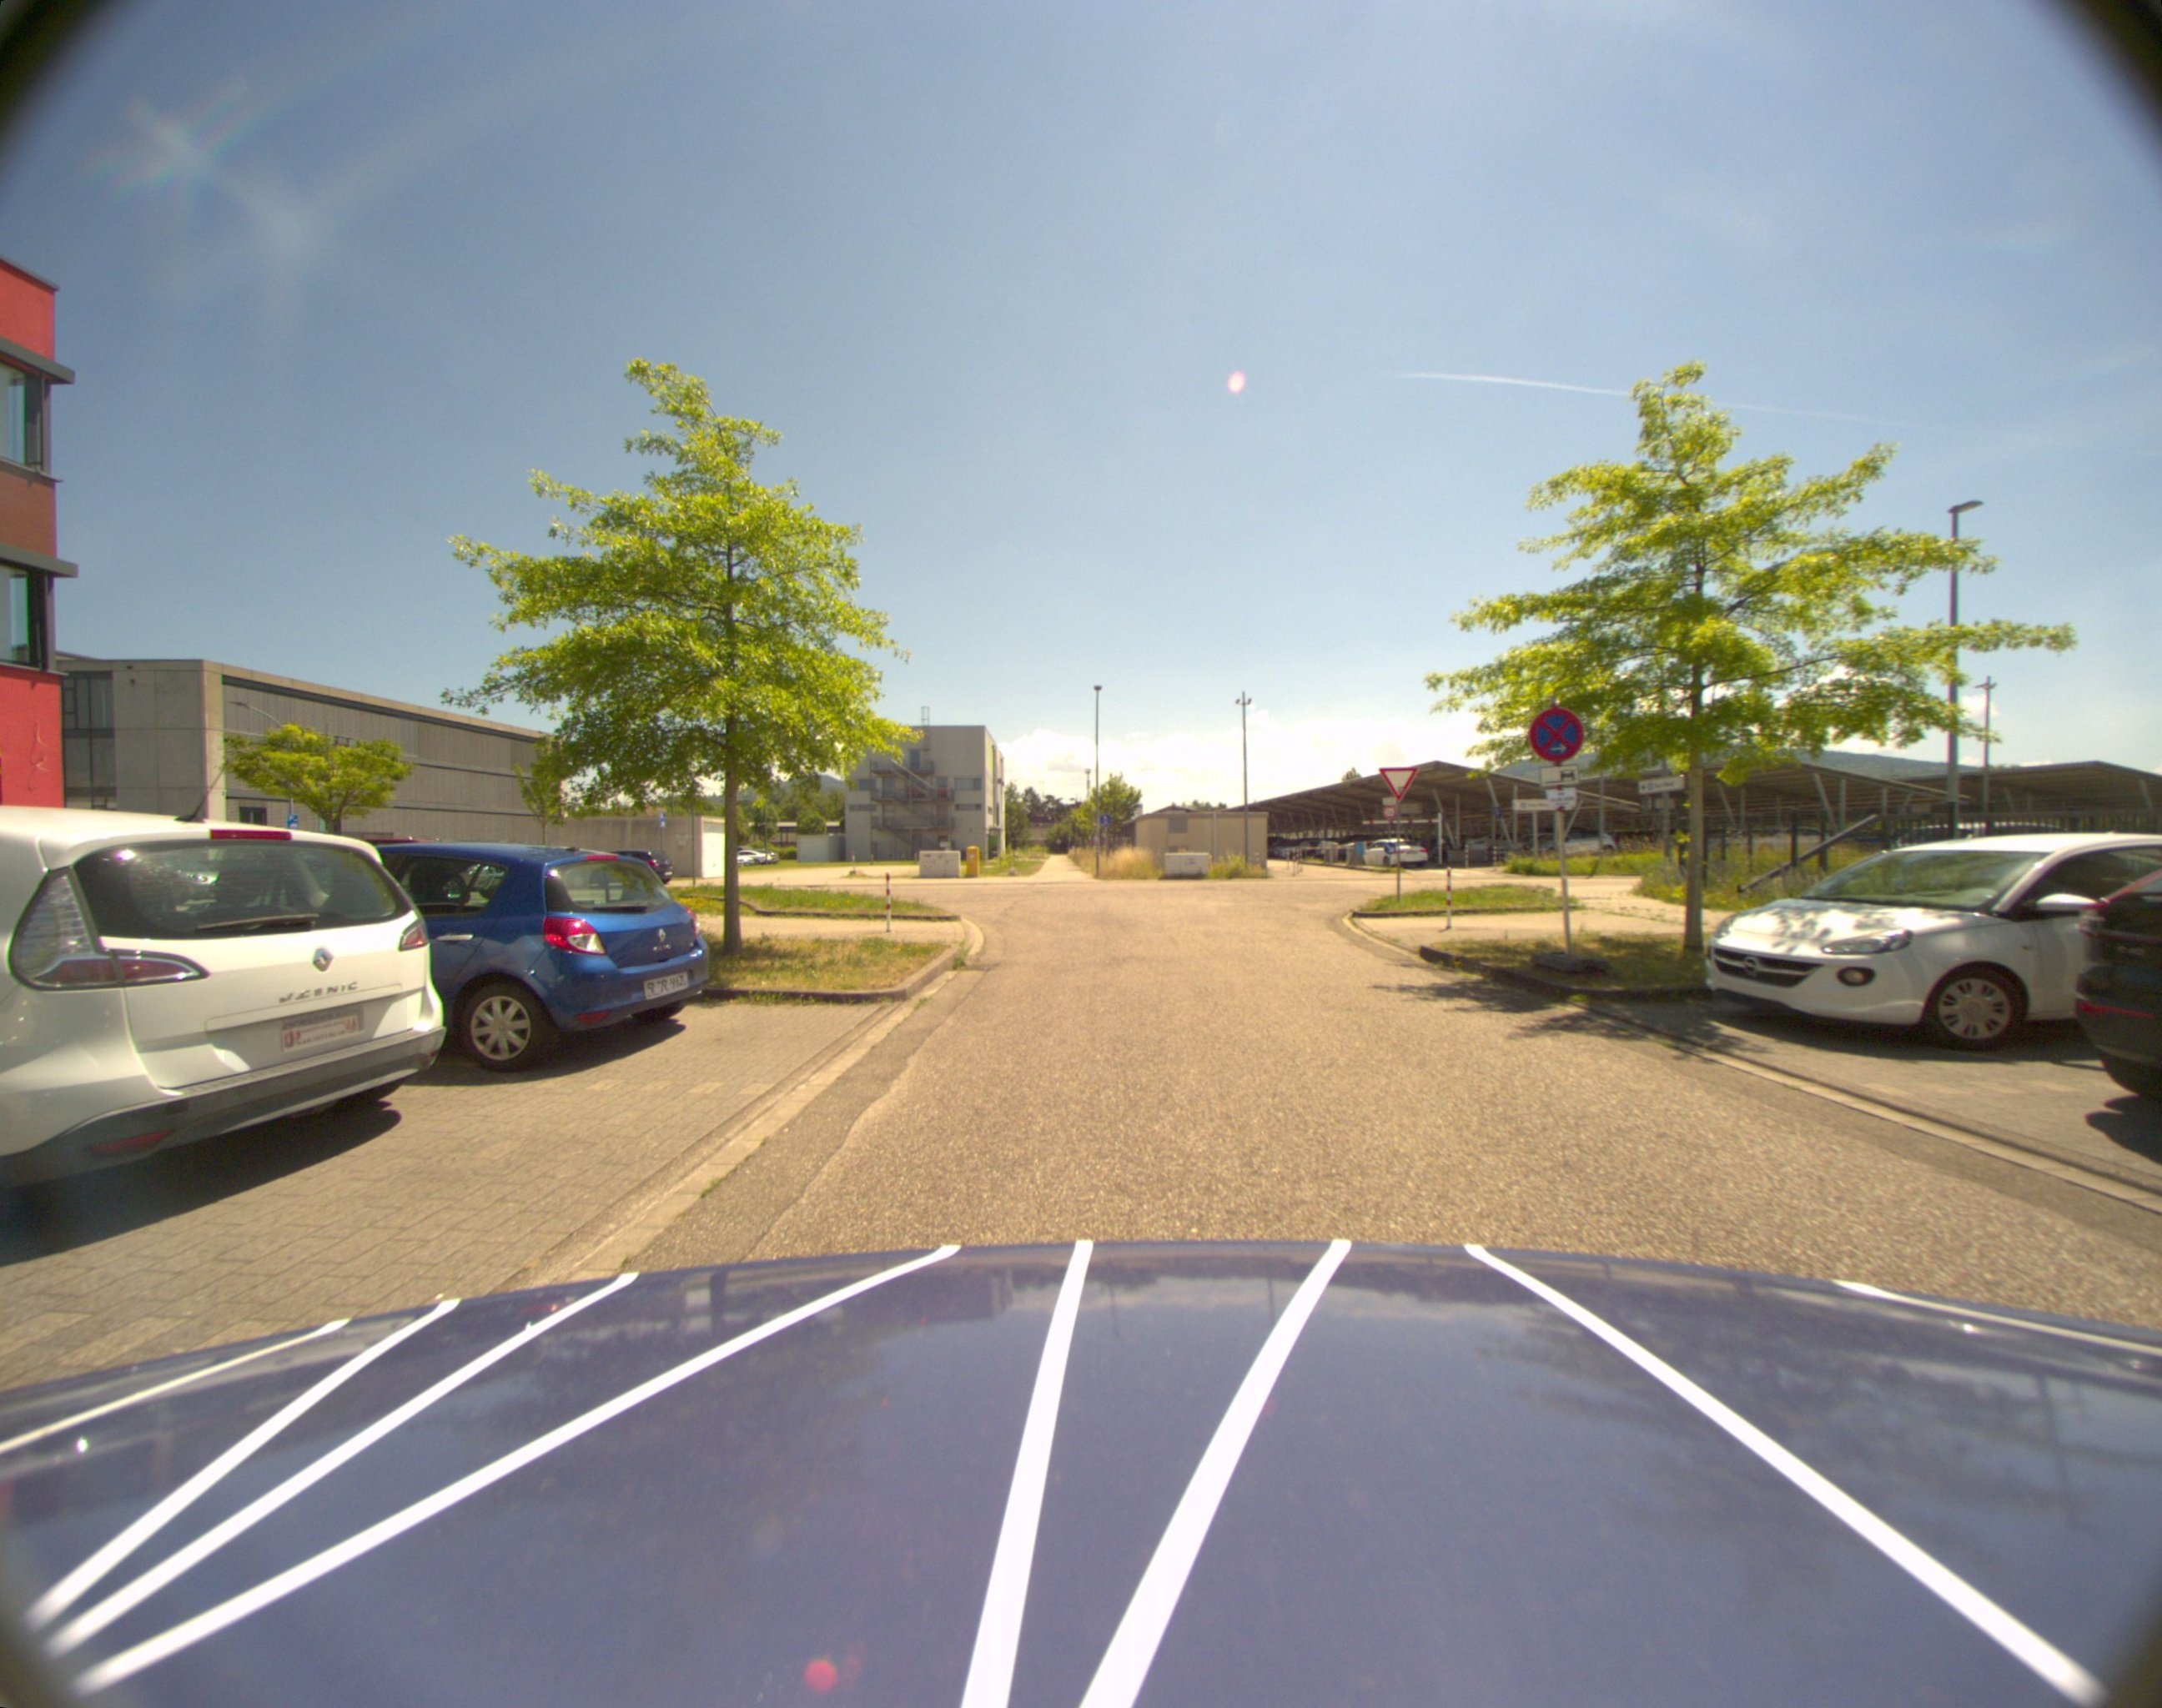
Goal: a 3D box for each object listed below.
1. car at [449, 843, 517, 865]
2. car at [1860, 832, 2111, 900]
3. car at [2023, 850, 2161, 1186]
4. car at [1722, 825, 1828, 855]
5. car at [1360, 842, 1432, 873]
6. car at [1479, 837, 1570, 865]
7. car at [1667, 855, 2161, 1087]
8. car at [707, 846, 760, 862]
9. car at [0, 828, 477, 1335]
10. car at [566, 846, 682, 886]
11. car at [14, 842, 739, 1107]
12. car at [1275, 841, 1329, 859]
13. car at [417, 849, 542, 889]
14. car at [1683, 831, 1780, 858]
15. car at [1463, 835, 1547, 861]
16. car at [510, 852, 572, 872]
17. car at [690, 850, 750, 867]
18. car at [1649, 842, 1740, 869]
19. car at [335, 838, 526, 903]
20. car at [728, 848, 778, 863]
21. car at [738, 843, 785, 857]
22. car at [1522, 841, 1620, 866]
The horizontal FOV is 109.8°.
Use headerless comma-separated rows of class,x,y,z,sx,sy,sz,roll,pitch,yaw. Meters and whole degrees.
car,-43.657,-0.019,55.512,3.625,1.493,1.658,0,3,1
car,20.486,0.250,17.332,3.678,1.455,1.723,0,1,-1
car,7.097,0.738,3.306,3.848,1.584,1.829,-2,1,-2
car,34.469,-0.695,37.819,3.774,1.428,1.723,0,1,-3
car,15.223,0.129,36.921,1.723,1.428,3.774,0,1,-3
car,23.068,-0.177,39.572,3.774,1.428,1.723,0,1,-3
car,7.029,0.789,5.954,3.513,1.433,1.727,-2,1,0
car,-31.330,-0.014,68.549,4.054,1.458,1.658,0,1,-1
car,-5.460,0.716,3.435,4.119,1.641,1.774,1,0,3
car,-18.517,0.477,30.877,3.625,1.493,1.682,0,3,-1
car,-4.993,0.746,5.734,4.004,1.482,1.728,3,0,5
car,17.666,-0.297,60.770,3.774,1.428,1.723,0,1,-3
car,-24.223,0.585,30.706,3.626,1.493,1.657,0,3,-2
car,34.480,-0.507,40.336,3.774,1.428,1.723,0,1,-3
car,23.684,-0.334,42.554,3.774,1.428,1.723,0,1,-3
car,-42.679,0.651,60.101,3.625,1.493,1.658,0,3,1
car,-31.367,0.377,66.014,4.368,1.458,1.709,0,1,-1
car,34.354,0.072,42.595,3.774,1.428,1.723,0,1,-3
car,-18.837,0.490,22.124,3.997,1.764,1.811,-1,-1,0
car,-31.602,0.142,73.259,4.054,1.417,1.658,0,1,-1
car,-32.219,-0.413,76.632,4.054,1.379,1.658,0,1,-1
car,24.058,-0.022,37.371,3.774,1.221,1.723,0,1,-3
